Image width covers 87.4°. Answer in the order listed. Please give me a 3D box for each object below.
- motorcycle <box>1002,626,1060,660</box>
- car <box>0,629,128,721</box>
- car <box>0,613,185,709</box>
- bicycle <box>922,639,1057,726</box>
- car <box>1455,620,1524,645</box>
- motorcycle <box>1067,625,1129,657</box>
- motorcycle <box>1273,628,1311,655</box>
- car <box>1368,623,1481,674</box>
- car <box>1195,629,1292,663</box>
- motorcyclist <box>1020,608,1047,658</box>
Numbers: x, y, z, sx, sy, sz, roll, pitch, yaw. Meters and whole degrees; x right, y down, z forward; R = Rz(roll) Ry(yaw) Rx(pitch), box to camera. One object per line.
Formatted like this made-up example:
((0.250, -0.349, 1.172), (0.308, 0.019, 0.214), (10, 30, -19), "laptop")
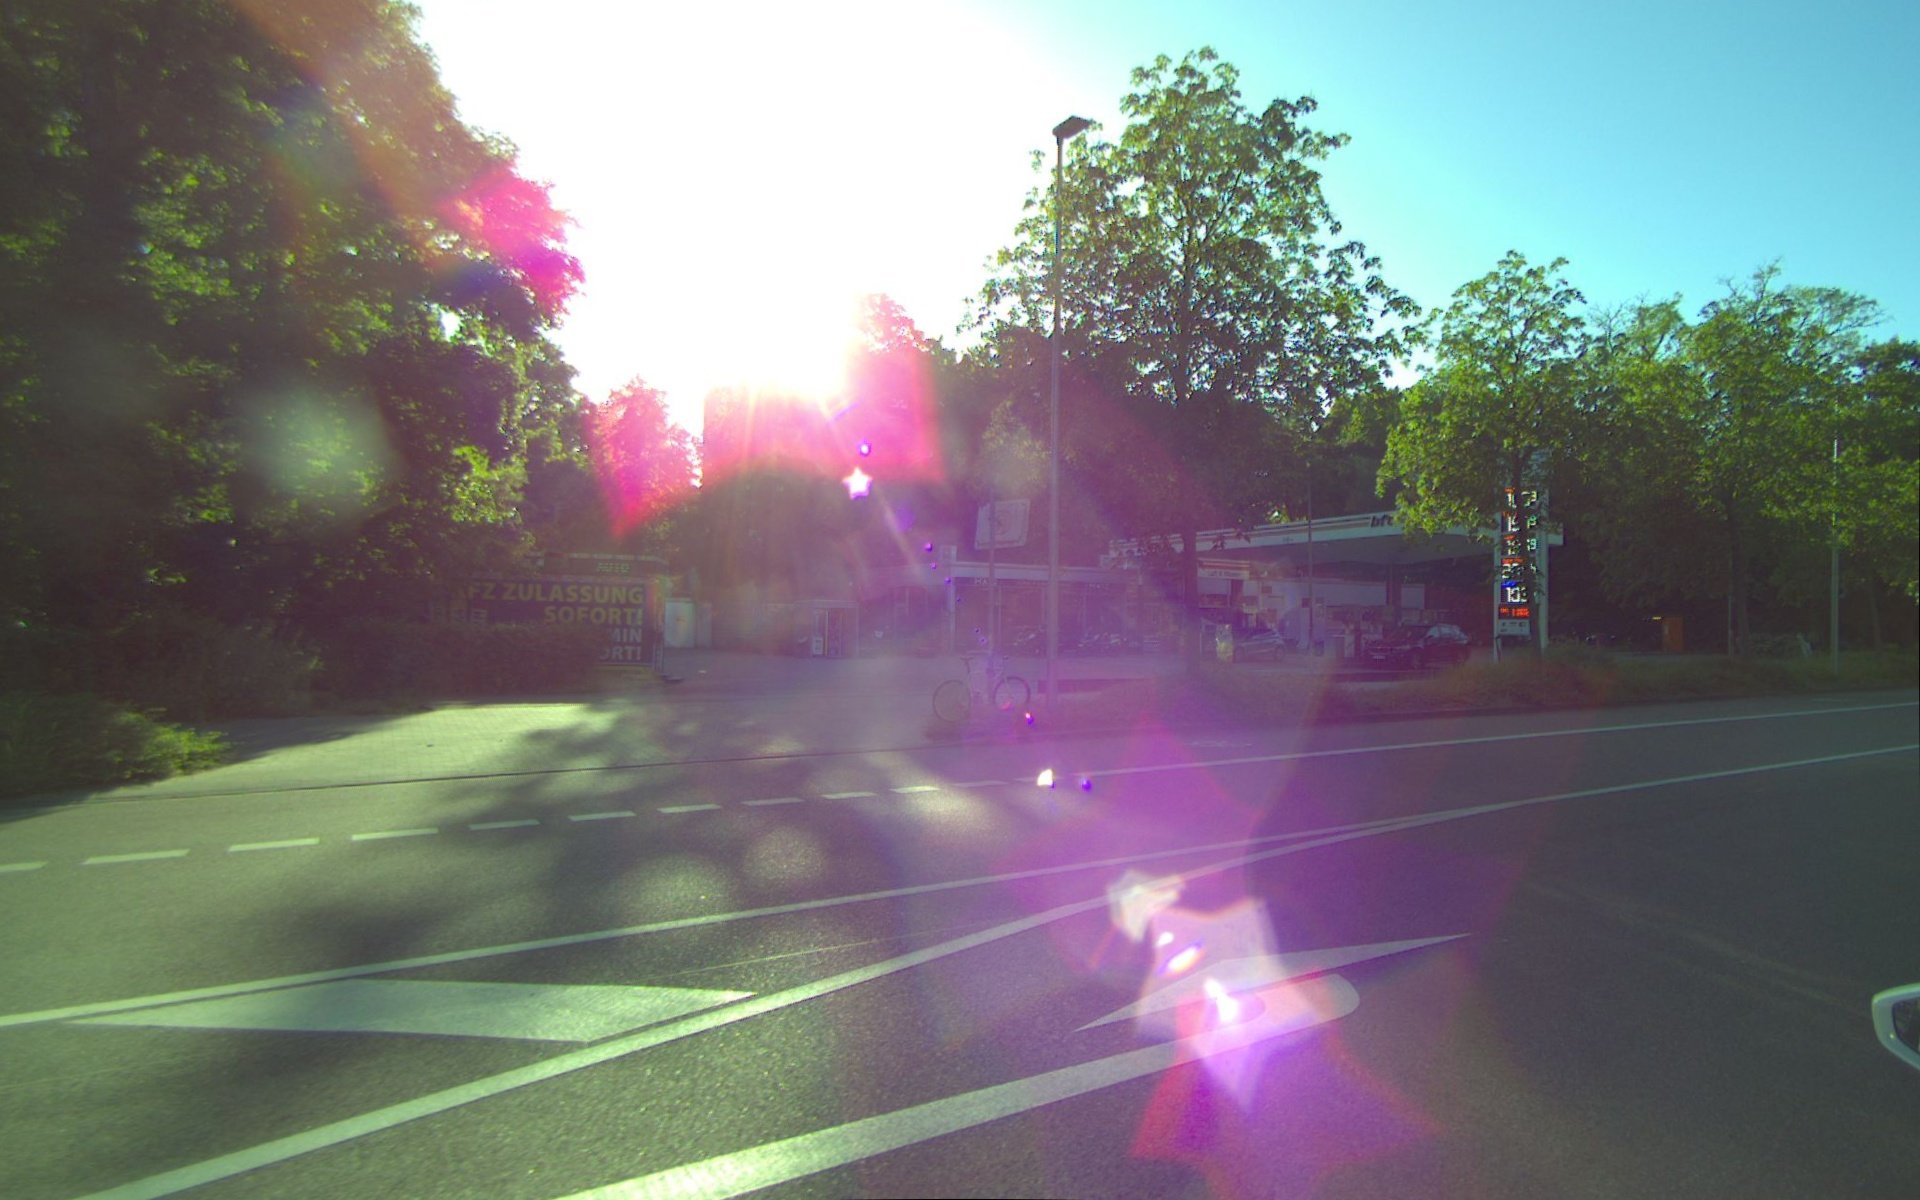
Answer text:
((3.189, 1.908, 45.026), (2.455, 1.470, 1.135), (0, -1, 14), "motorcycle")
((-15.834, 1.190, 16.244), (3.421, 1.418, 1.564), (0, -3, 2), "car")
((-16.502, 1.087, 18.376), (3.421, 1.673, 1.563), (0, -1, 2), "car")
((0.485, 1.243, 15.582), (2.138, 1.266, 0.650), (1, -2, -36), "bicycle")
((40.137, 2.452, 76.176), (4.187, 1.844, 2.000), (1, -1, -1), "car")
((6.441, 1.903, 46.980), (2.693, 1.470, 1.134), (1, -1, -4), "motorcycle")
((17.785, 2.214, 53.842), (0.916, 1.381, 1.829), (1, -1, -29), "motorcycle")
((16.664, 1.706, 35.952), (4.408, 1.713, 1.700), (1, -2, -35), "car")
((12.083, 1.943, 42.760), (4.014, 1.394, 1.702), (1, -2, -32), "car")
((3.308, 1.459, 45.010), (0.996, 2.211, 1.124), (0, -1, 14), "motorcyclist")
